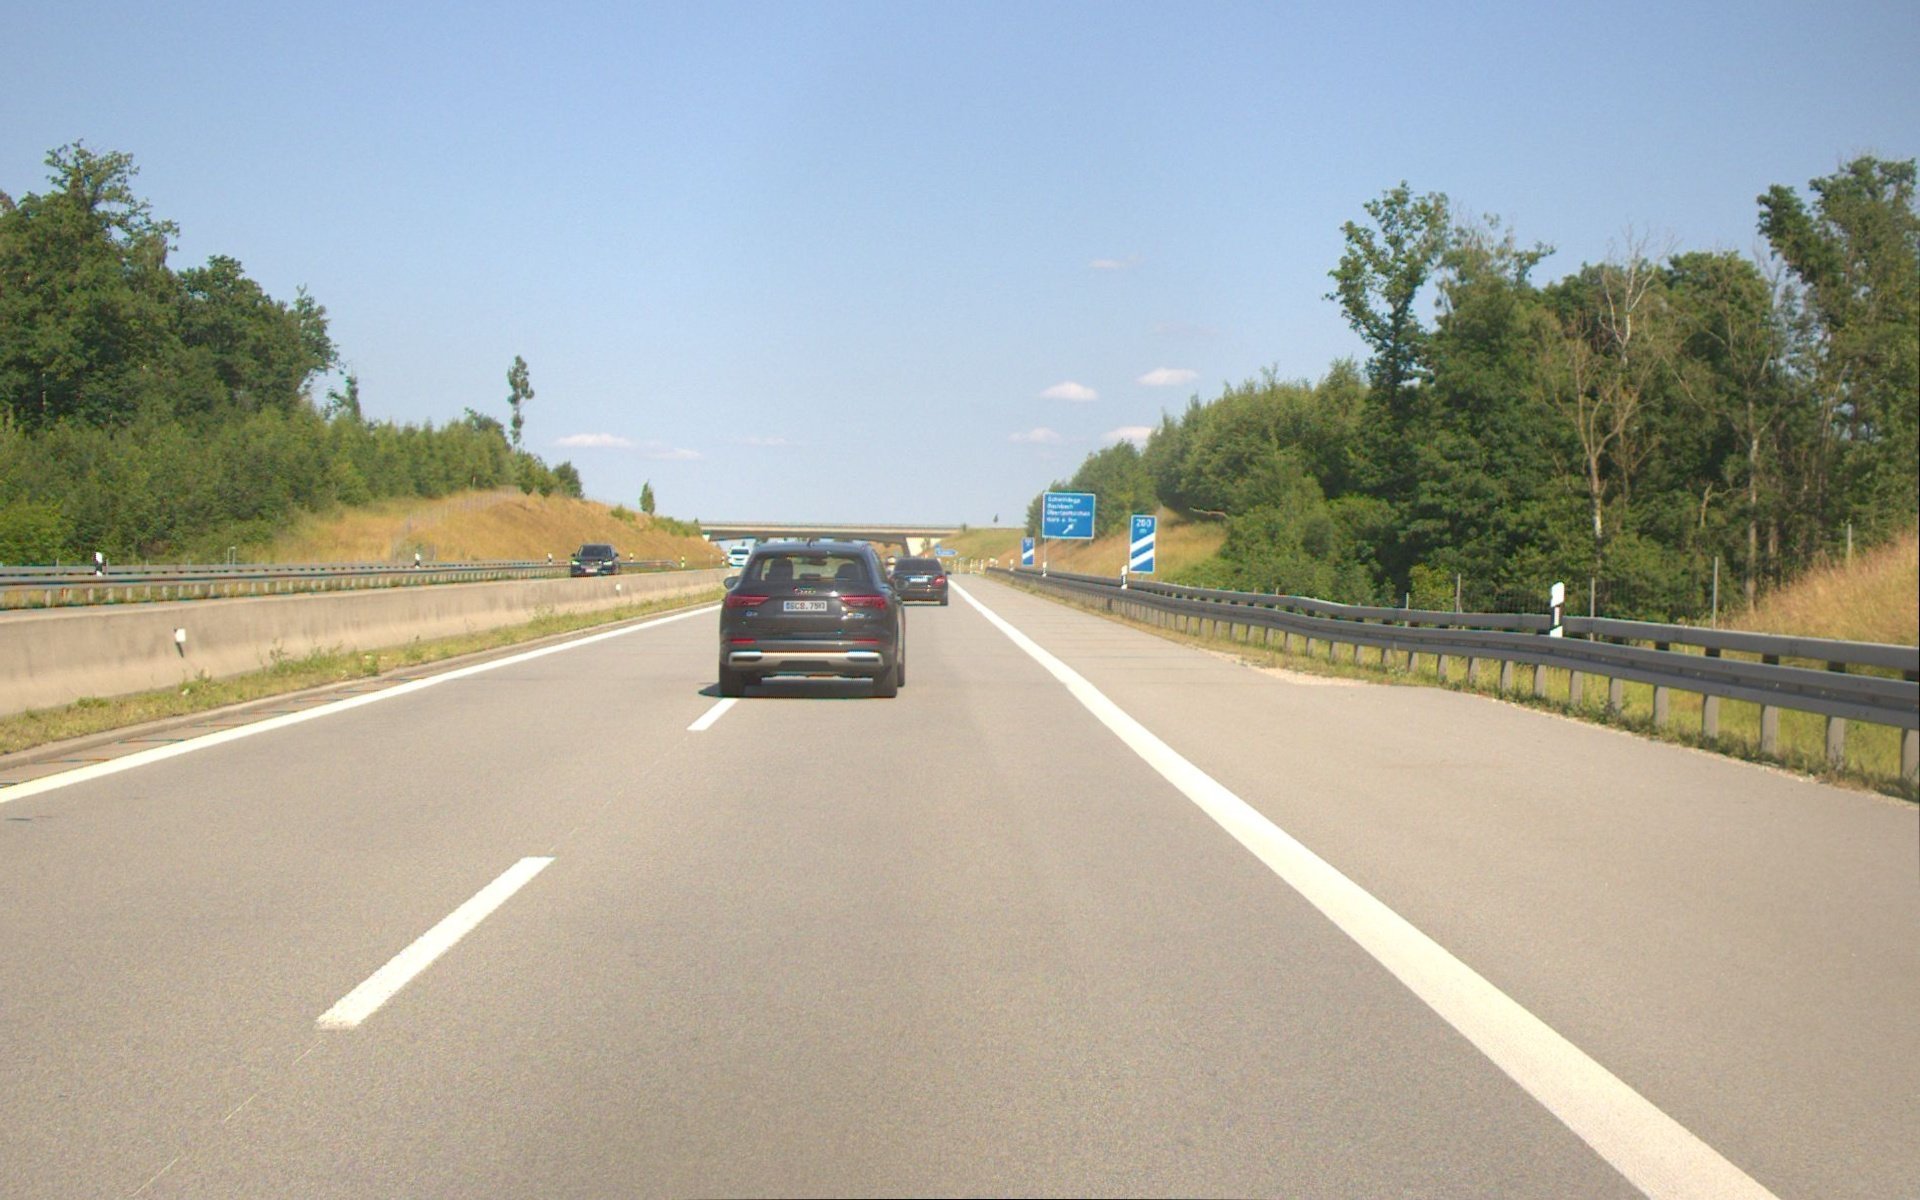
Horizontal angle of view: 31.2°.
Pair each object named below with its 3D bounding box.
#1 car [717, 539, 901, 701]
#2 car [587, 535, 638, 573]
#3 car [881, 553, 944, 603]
[{"bbox_3d":[-1.538,0.158,36.595,1.722,1.582,5.222,1,1,0],"label":"car"},{"bbox_3d":[-15.710,-2.084,155.688,1.901,1.686,4.269,1,1,-1],"label":"car"},{"bbox_3d":[-1.366,-0.666,100.755,1.790,1.369,3.917,1,1,0],"label":"car"}]
